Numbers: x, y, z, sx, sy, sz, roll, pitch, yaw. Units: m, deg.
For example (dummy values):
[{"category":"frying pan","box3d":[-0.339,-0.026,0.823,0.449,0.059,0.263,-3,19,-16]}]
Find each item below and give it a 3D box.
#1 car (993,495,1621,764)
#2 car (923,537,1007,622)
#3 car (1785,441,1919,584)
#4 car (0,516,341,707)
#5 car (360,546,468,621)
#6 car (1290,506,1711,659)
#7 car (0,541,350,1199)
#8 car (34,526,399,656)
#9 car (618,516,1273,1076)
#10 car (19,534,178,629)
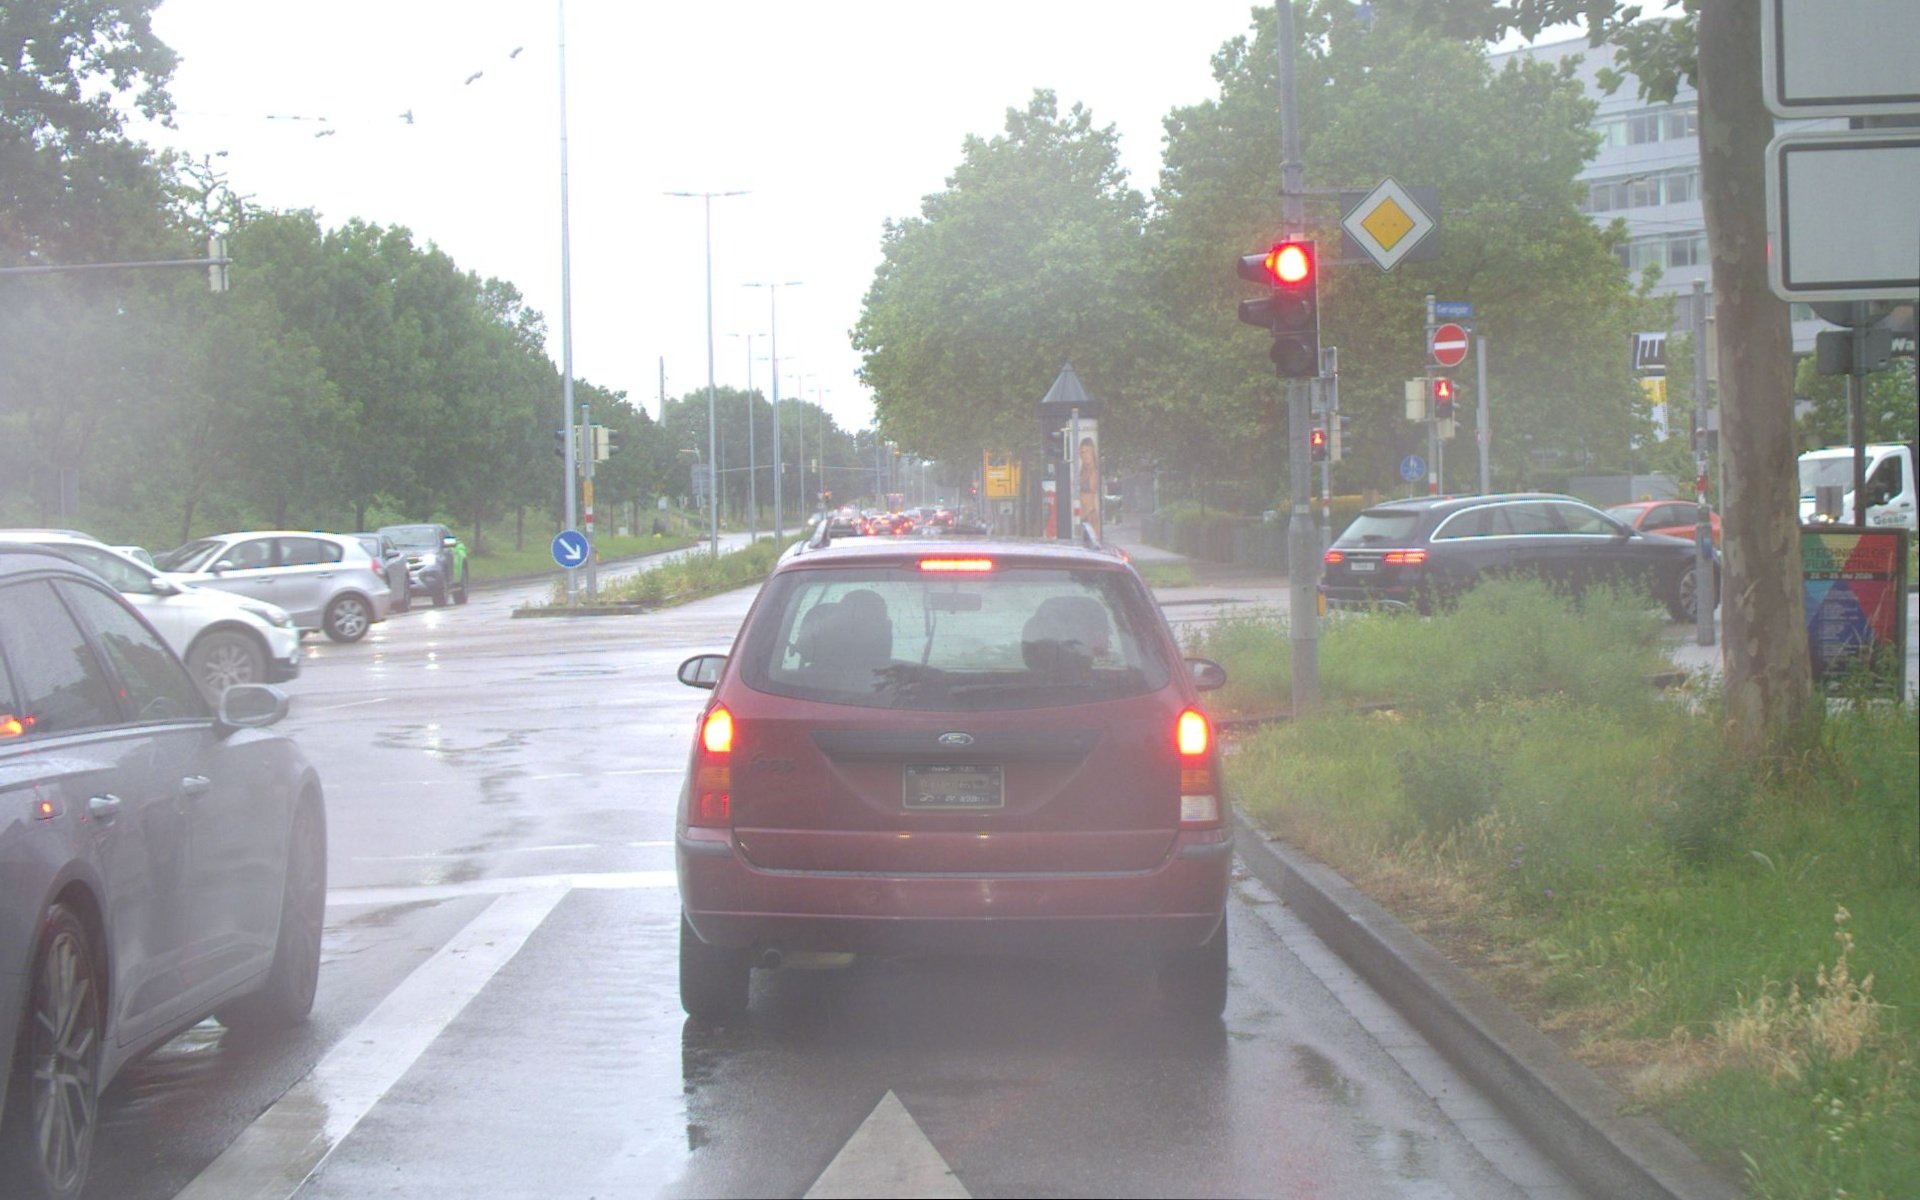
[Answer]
[{"category":"car","box3d":[2.501,0.131,24.097,4.375,1.531,1.801,-5,4,-40]},{"category":"car","box3d":[0.105,-0.532,85.518,1.993,2.007,4.000,-1,1,-1]},{"category":"car","box3d":[15.753,-1.495,56.388,4.374,2.183,1.802,-5,3,-35]},{"category":"car","box3d":[-7.599,0.085,29.410,4.050,1.515,2.000,-2,1,-33]},{"category":"car","box3d":[-11.748,-0.377,74.174,1.712,1.525,4.000,-1,1,-1]},{"category":"car","box3d":[5.959,-0.219,37.779,4.372,1.532,1.802,-2,1,-29]},{"category":"car","box3d":[-2.722,0.576,8.403,1.690,1.428,4.574,0,1,-1]},{"category":"car","box3d":[-9.170,-0.136,42.530,3.988,1.481,1.818,-2,1,-39]},{"category":"car","box3d":[-0.065,0.505,11.705,1.796,1.532,4.387,1,1,-1]},{"category":"car","box3d":[-14.629,-0.345,58.539,1.712,1.525,4.000,-1,1,-1]}]
